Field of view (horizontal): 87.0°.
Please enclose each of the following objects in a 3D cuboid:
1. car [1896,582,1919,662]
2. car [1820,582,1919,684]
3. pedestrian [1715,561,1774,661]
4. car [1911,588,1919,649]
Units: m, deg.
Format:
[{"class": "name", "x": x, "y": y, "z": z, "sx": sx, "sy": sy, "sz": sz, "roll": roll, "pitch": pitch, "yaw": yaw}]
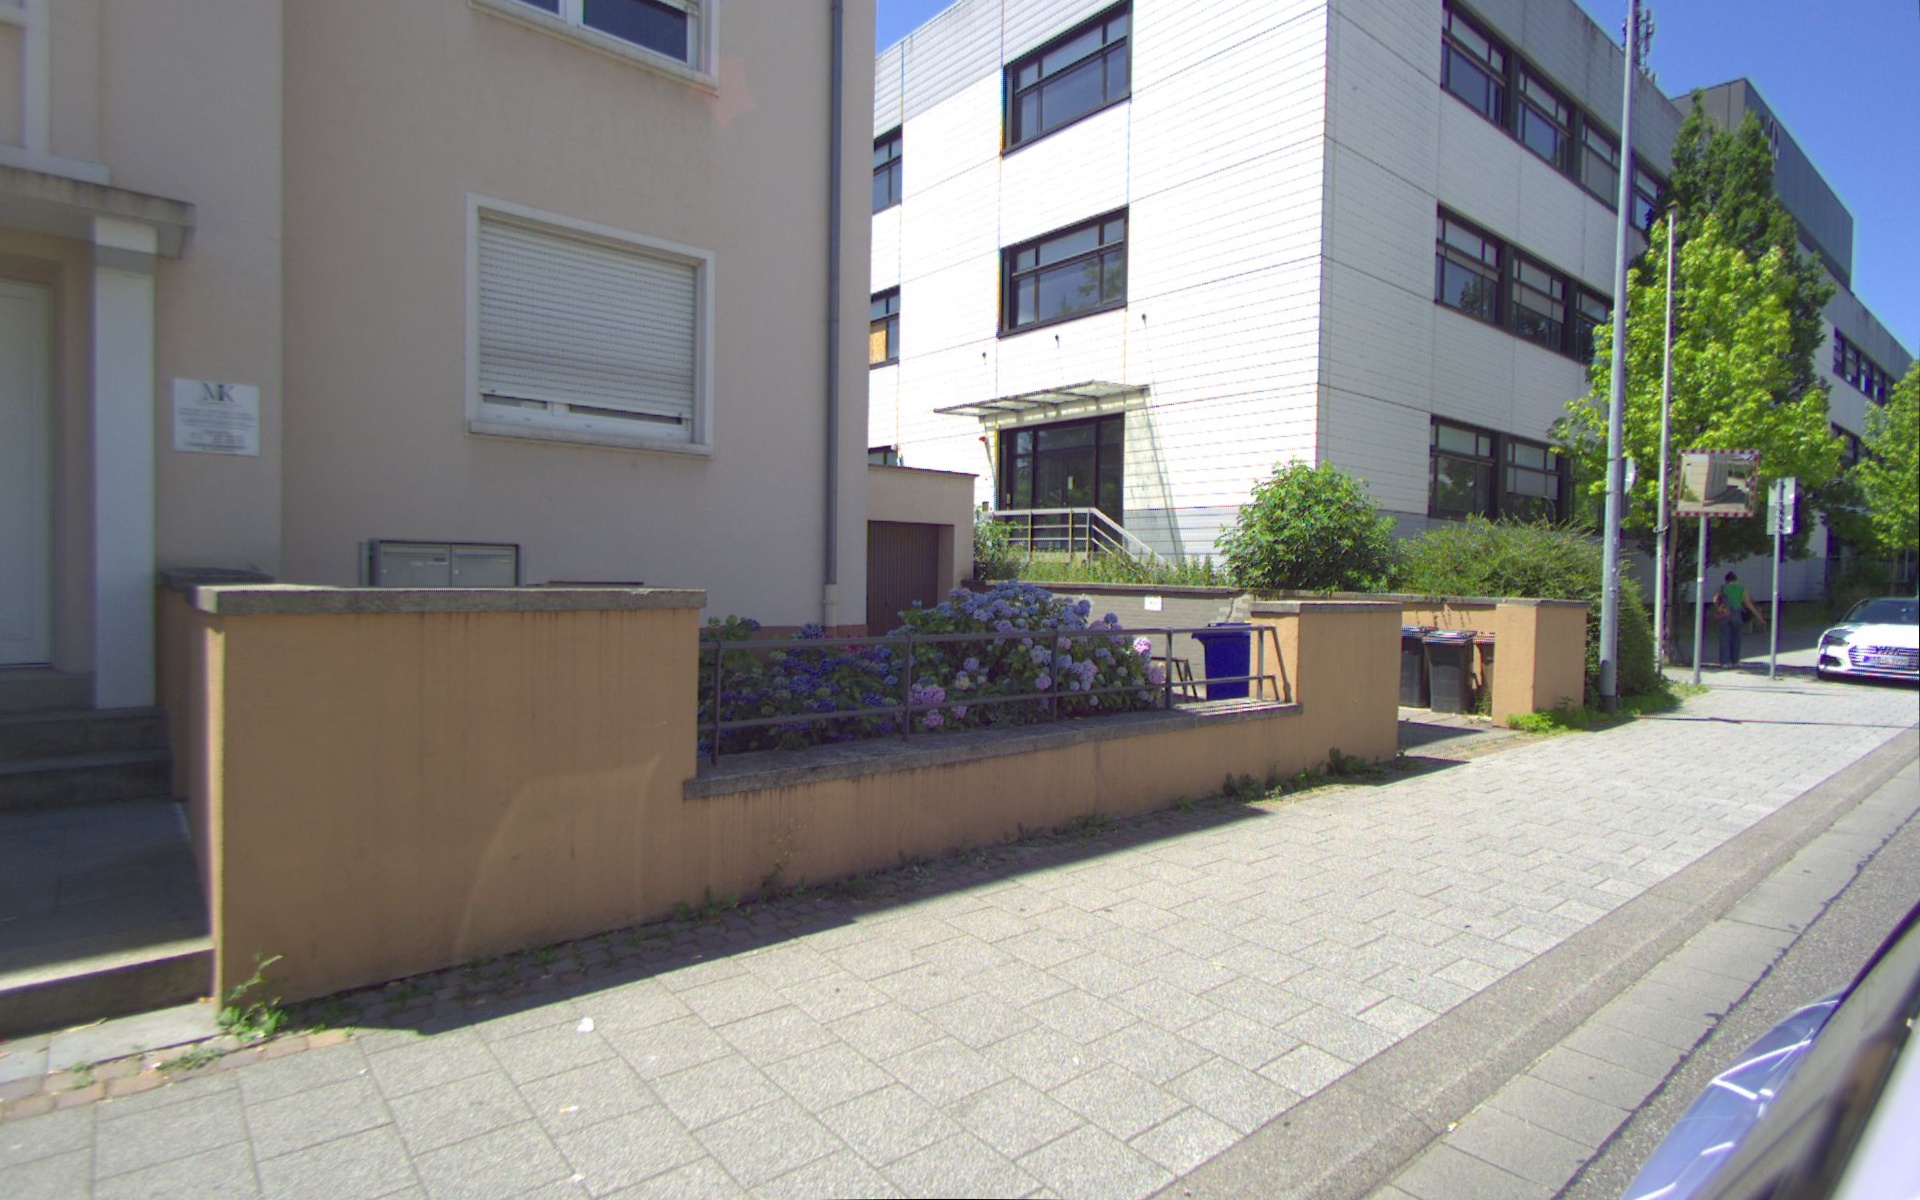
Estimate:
[{"class": "car", "x": 20.106, "y": 0.434, "z": 20.101, "sx": 3.808, "sy": 1.516, "sz": 1.714, "roll": 0, "pitch": 3, "yaw": -40}, {"class": "car", "x": 16.113, "y": 0.494, "z": 16.902, "sx": 4.795, "sy": 1.487, "sz": 1.920, "roll": 0, "pitch": 3, "yaw": -41}, {"class": "pedestrian", "x": 14.115, "y": 0.178, "z": 18.237, "sx": 0.676, "sy": 1.720, "sz": 1.038, "roll": 3, "pitch": 3, "yaw": 33}, {"class": "car", "x": 23.723, "y": 0.447, "z": 23.495, "sx": 3.928, "sy": 1.382, "sz": 1.842, "roll": 0, "pitch": 3, "yaw": -39}]
